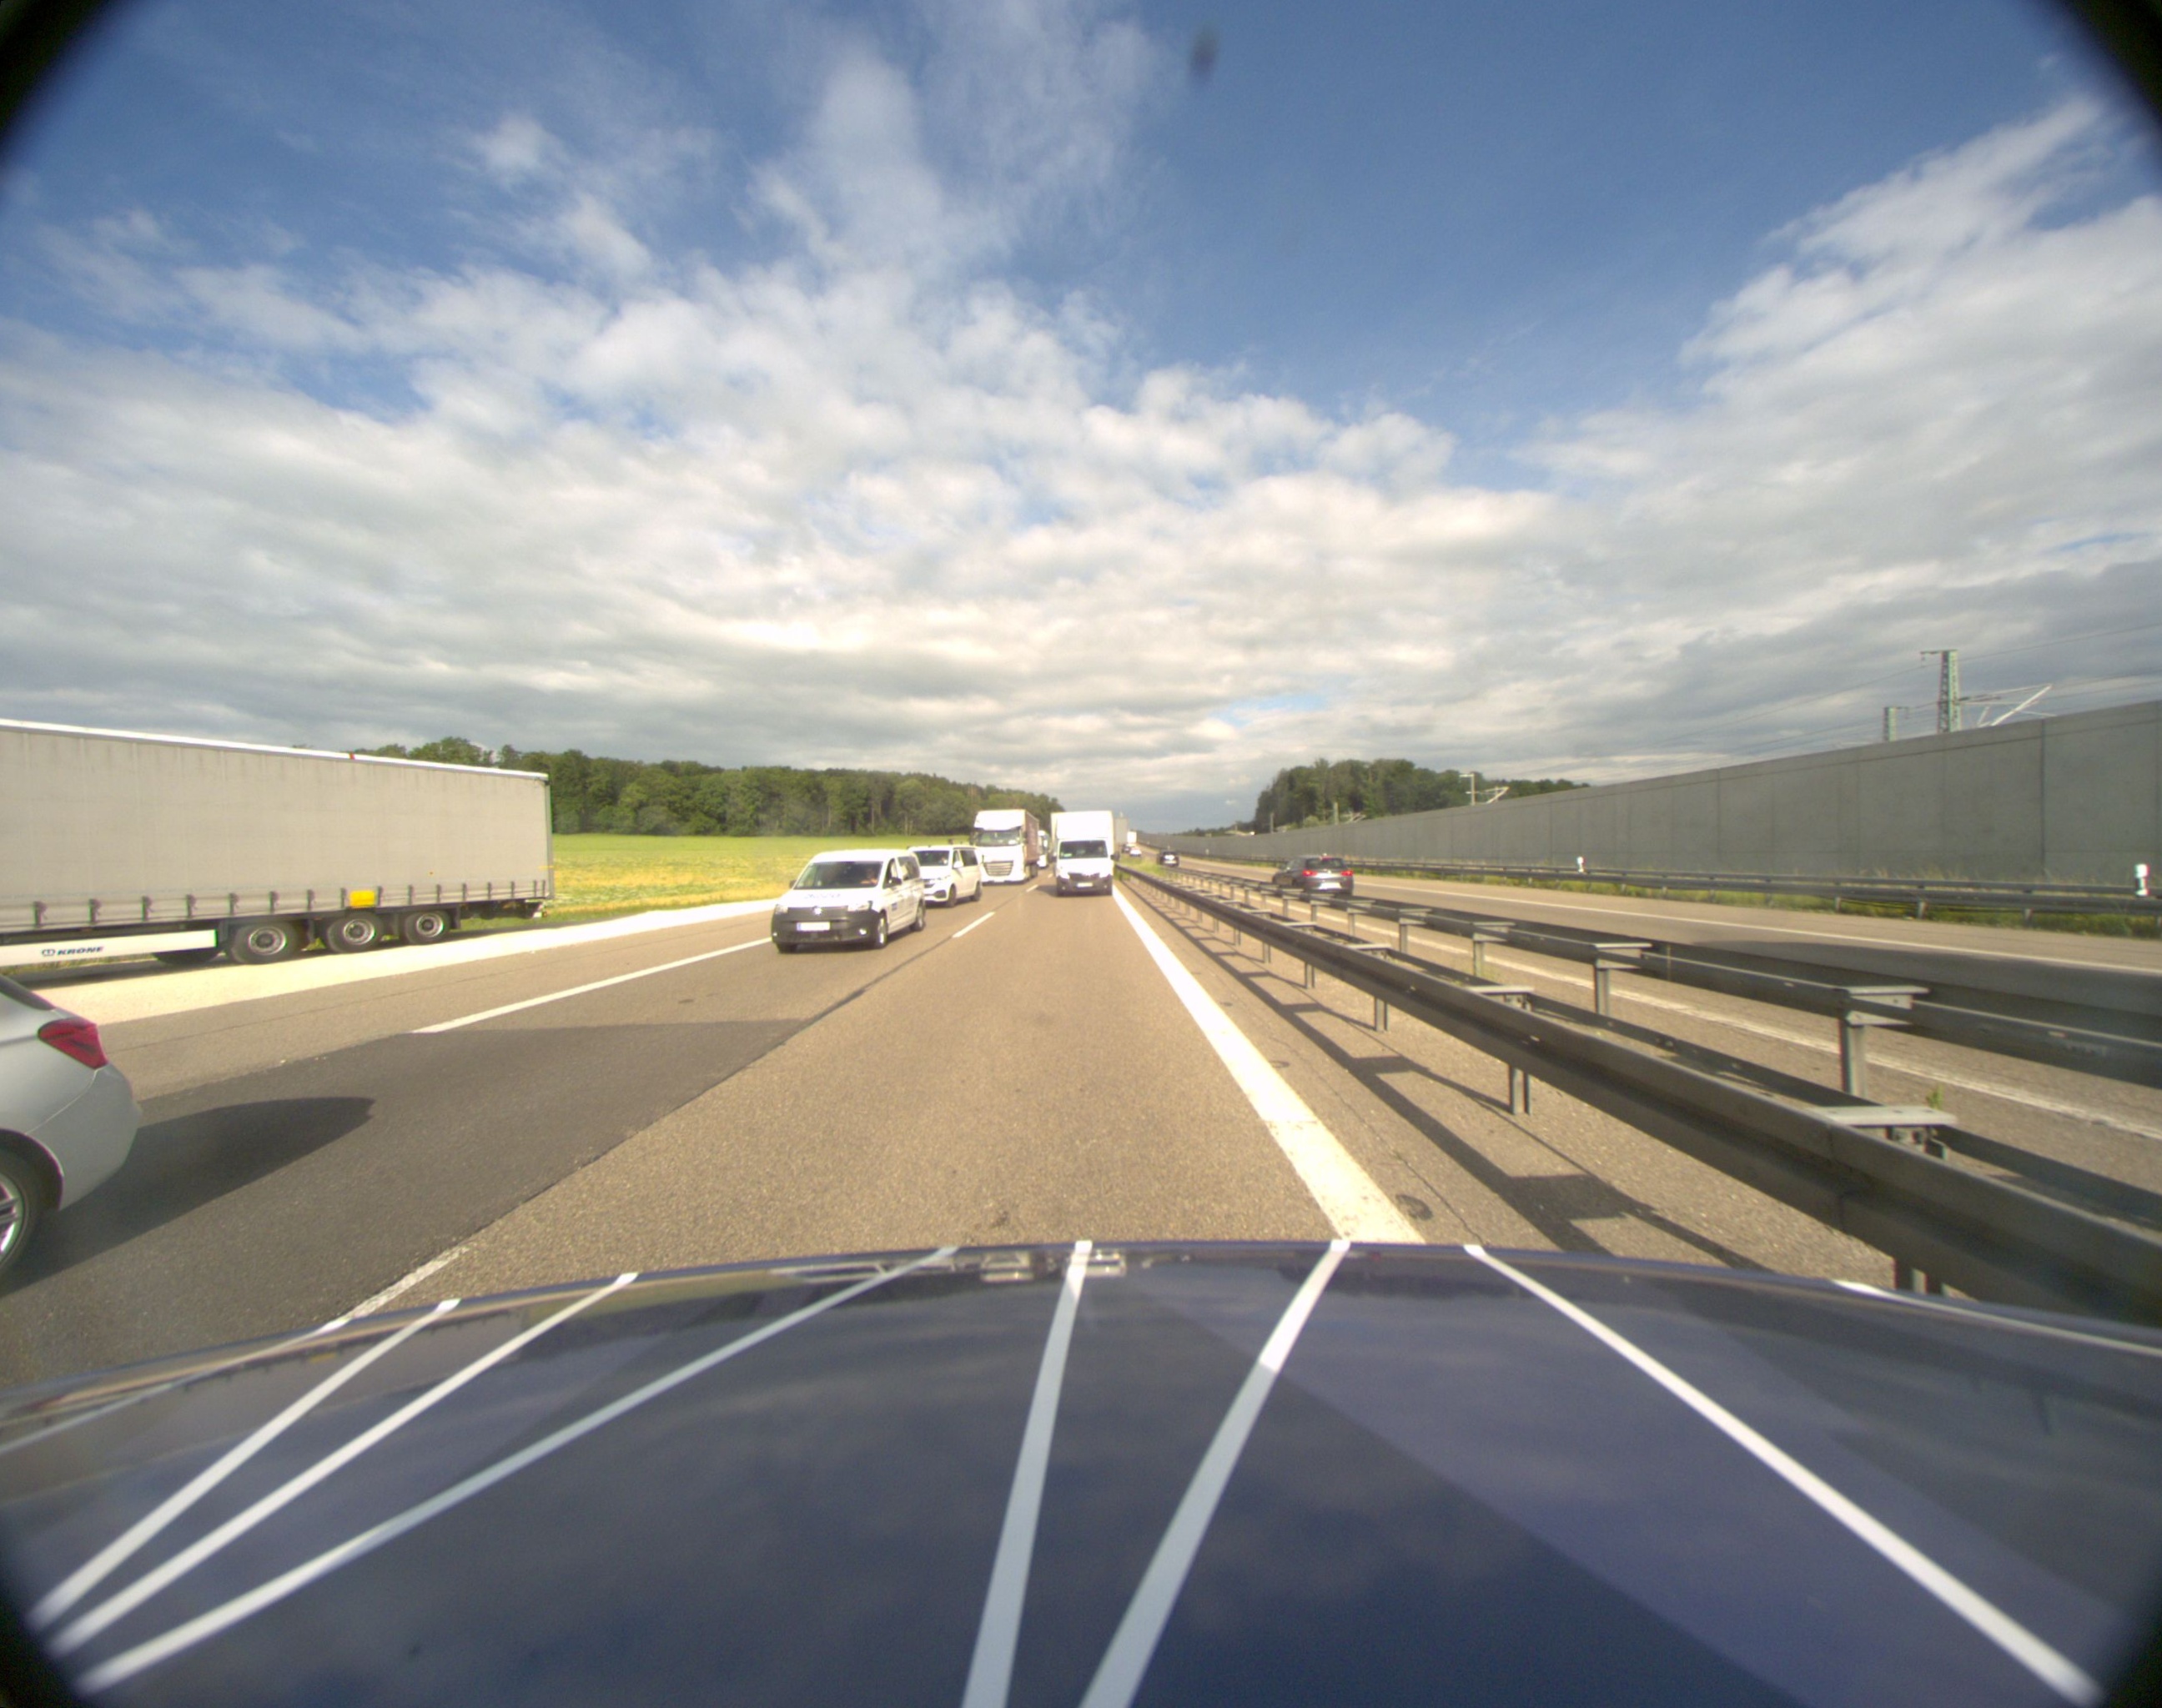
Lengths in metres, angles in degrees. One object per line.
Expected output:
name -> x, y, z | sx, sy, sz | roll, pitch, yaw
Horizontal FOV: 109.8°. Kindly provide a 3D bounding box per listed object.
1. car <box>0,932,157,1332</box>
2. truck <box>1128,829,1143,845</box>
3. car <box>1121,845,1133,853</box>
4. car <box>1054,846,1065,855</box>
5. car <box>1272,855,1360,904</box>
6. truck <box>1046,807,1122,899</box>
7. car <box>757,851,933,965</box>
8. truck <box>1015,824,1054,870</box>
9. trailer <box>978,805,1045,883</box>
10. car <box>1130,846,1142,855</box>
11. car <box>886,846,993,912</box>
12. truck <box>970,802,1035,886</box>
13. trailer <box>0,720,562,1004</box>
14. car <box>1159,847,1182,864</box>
car -> -4.846, 1.091, 1.129 | 1.708, 1.424, 4.231 | -3, 0, 0
truck -> 14.652, -4.550, 205.940 | 2.952, 4.037, 11.745 | -2, 1, 0
car -> 8.963, -0.926, 148.277 | 1.808, 1.454, 4.449 | -1, 0, -1
car -> -4.149, -0.703, 146.602 | 1.707, 1.746, 4.676 | -3, 0, 1
car -> 7.503, 0.759, 24.627 | 1.637, 1.393, 3.896 | -1, 0, 0
truck -> 0.138, -0.048, 32.110 | 2.500, 3.082, 12.037 | -2, 0, 0
car -> -4.223, 0.850, 14.463 | 1.729, 1.746, 4.702 | -3, 0, 1
truck -> -4.451, -0.669, 74.943 | 2.946, 4.094, 12.523 | -1, 0, 0
trailer -> -4.133, -0.671, 48.318 | 2.742, 4.137, 14.016 | -2, 1, 0
car -> 8.911, -0.567, 123.359 | 1.721, 1.454, 4.449 | -1, 0, 0
car -> -4.524, 0.725, 25.213 | 1.798, 1.914, 5.270 | -3, 0, 8
truck -> -4.145, -0.563, 41.473 | 2.736, 4.150, 5.766 | -2, 1, 0
trailer -> -16.537, 0.141, 13.140 | 2.739, 4.136, 13.843 | -2, 0, 15
car -> 8.618, 0.141, 73.838 | 1.720, 1.586, 4.449 | -1, 0, 1
